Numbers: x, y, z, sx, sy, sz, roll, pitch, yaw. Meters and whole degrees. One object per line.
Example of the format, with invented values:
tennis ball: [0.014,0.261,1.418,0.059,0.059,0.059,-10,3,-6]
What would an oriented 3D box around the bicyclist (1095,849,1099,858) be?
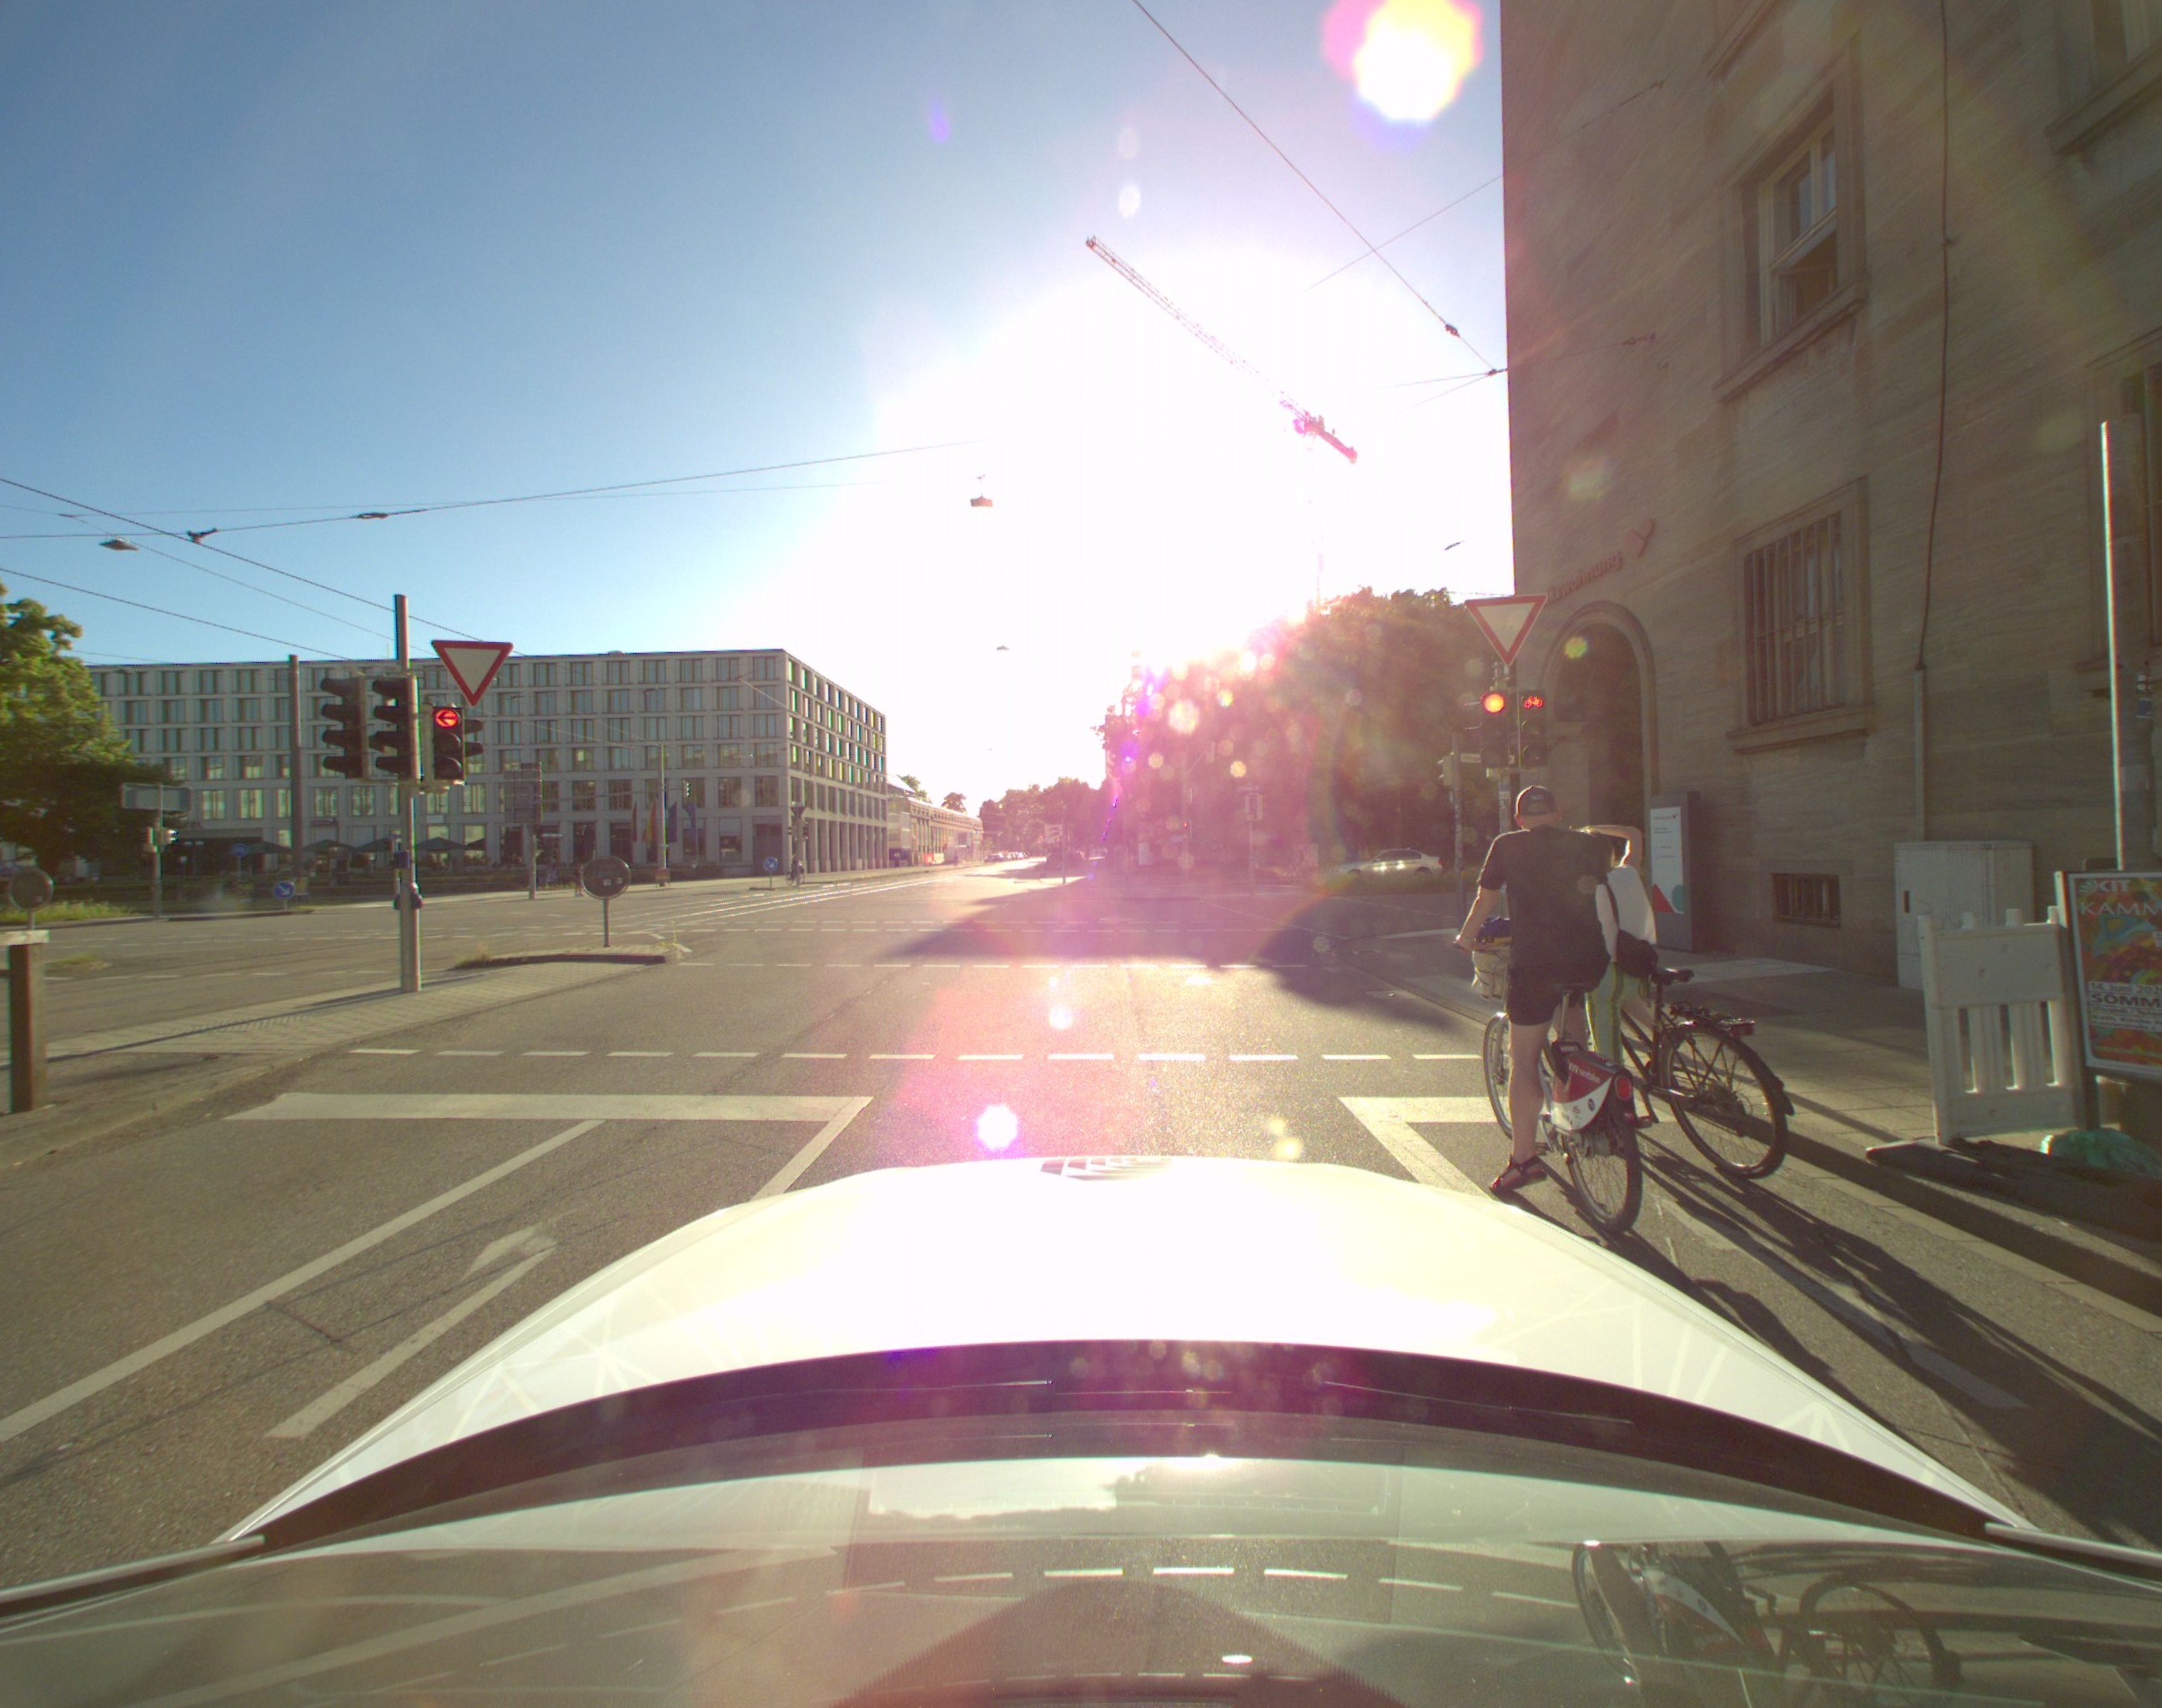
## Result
bicyclist: [3.771,-0.092,194.861,0.891,2.014,0.746,0,-1,-10]

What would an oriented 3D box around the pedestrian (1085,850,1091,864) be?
pedestrian: [0.812,0.347,97.884,0.576,1.689,0.584,-2,0,-6]

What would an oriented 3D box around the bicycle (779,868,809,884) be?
bicycle: [-15.886,1.221,45.109,1.696,0.823,0.577,-2,0,29]

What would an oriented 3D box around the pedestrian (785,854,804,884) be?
pedestrian: [-15.871,0.830,45.091,0.735,1.595,0.577,-2,0,29]

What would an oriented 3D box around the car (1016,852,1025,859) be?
car: [-14.450,0.302,195.318,1.988,1.644,3.998,-2,0,-1]

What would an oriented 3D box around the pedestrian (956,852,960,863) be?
pedestrian: [-20.243,0.566,133.789,0.585,1.889,0.478,0,-1,1]

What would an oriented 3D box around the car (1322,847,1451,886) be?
car: [12.442,0.502,33.408,4.559,1.516,2.001,0,-1,1]

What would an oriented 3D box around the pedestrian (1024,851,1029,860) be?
pedestrian: [-12.256,0.272,182.830,0.746,2.063,1.052,0,-1,7]

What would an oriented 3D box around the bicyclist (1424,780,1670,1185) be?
bicyclist: [2.185,0.548,3.941,0.621,1.715,0.913,-2,0,0]

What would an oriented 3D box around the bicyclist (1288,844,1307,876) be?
bicyclist: [9.626,0.264,36.290,0.742,1.406,0.704,-1,-1,8]

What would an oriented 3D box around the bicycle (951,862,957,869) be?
bicycle: [-17.270,1.574,110.541,0.492,0.839,1.158,-2,0,4]

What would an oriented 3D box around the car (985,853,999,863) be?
car: [-15.531,0.736,141.534,1.988,1.599,3.998,-2,0,-1]

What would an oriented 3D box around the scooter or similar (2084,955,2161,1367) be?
scooter or similar: [3.366,0.895,1.868,0.571,1.149,1.272,-1,1,0]

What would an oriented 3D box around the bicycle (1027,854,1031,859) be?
bicycle: [-11.920,0.626,187.368,0.748,1.205,3.108,0,-1,1]

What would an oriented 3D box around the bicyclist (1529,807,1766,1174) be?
bicyclist: [2.964,0.652,4.363,0.581,1.738,0.951,-2,0,2]

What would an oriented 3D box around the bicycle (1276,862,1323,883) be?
bicycle: [9.719,0.828,36.277,1.932,0.889,0.719,-1,-1,8]

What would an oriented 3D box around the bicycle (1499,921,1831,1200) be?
bicycle: [2.973,0.967,4.397,0.579,1.044,1.748,-2,0,3]

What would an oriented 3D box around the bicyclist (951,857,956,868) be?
bicyclist: [-17.288,1.121,110.563,0.492,1.498,0.667,-2,0,4]

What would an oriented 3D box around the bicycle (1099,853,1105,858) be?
bicycle: [5.087,0.298,195.154,0.890,1.219,2.784,0,-1,-9]

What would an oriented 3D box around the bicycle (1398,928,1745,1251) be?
bicycle: [2.192,0.968,3.951,0.621,1.044,1.747,-2,0,1]

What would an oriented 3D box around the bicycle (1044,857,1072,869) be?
bicycle: [-1.911,0.724,67.432,2.240,0.940,0.653,-2,0,-4]

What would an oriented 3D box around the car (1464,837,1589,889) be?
car: [17.889,0.348,32.851,3.970,2.014,2.002,0,-1,3]

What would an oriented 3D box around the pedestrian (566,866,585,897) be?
pedestrian: [-28.285,1.541,45.561,0.599,1.681,0.609,-2,0,17]

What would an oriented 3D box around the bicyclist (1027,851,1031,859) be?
bicyclist: [-11.918,0.263,187.252,0.748,1.920,1.214,0,-1,1]

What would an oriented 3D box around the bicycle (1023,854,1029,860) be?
bicycle: [-12.249,0.707,182.787,0.746,1.205,3.114,0,-1,7]
